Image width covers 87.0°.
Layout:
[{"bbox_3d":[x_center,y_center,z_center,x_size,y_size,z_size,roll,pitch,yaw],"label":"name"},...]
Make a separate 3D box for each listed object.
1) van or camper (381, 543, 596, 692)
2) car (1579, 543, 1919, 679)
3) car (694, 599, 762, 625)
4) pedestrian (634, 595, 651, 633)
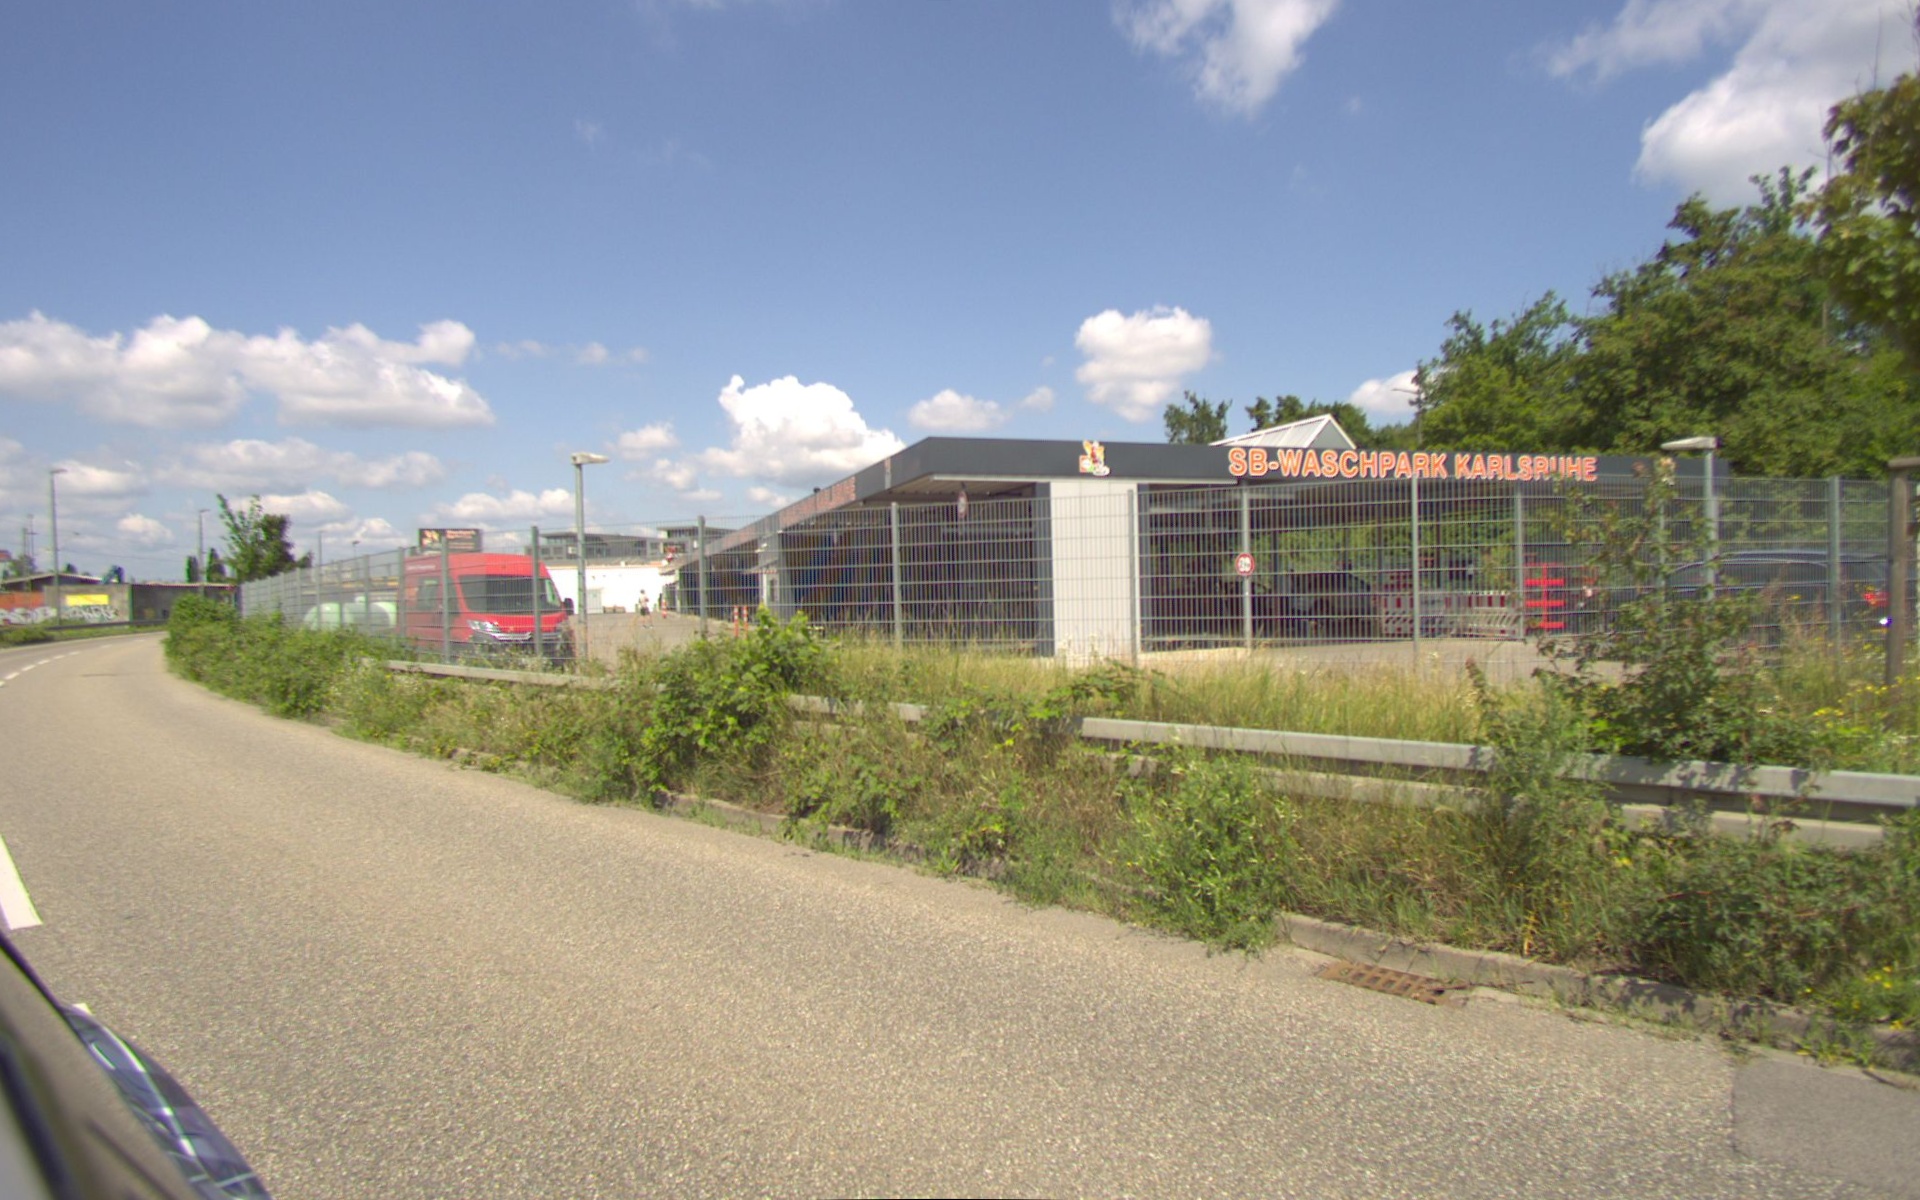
[{"bbox_3d":[-9.472,0.368,20.018,2.162,2.533,5.707,2,-2,-43],"label":"van or camper"},{"bbox_3d":[12.248,0.102,15.388,1.966,1.706,4.562,-3,1,-19],"label":"car"},{"bbox_3d":[-14.966,0.760,65.211,3.931,1.574,2.007,-1,1,-22],"label":"car"},{"bbox_3d":[-15.144,0.668,48.275,0.683,1.762,0.747,-1,0,-20],"label":"pedestrian"}]
